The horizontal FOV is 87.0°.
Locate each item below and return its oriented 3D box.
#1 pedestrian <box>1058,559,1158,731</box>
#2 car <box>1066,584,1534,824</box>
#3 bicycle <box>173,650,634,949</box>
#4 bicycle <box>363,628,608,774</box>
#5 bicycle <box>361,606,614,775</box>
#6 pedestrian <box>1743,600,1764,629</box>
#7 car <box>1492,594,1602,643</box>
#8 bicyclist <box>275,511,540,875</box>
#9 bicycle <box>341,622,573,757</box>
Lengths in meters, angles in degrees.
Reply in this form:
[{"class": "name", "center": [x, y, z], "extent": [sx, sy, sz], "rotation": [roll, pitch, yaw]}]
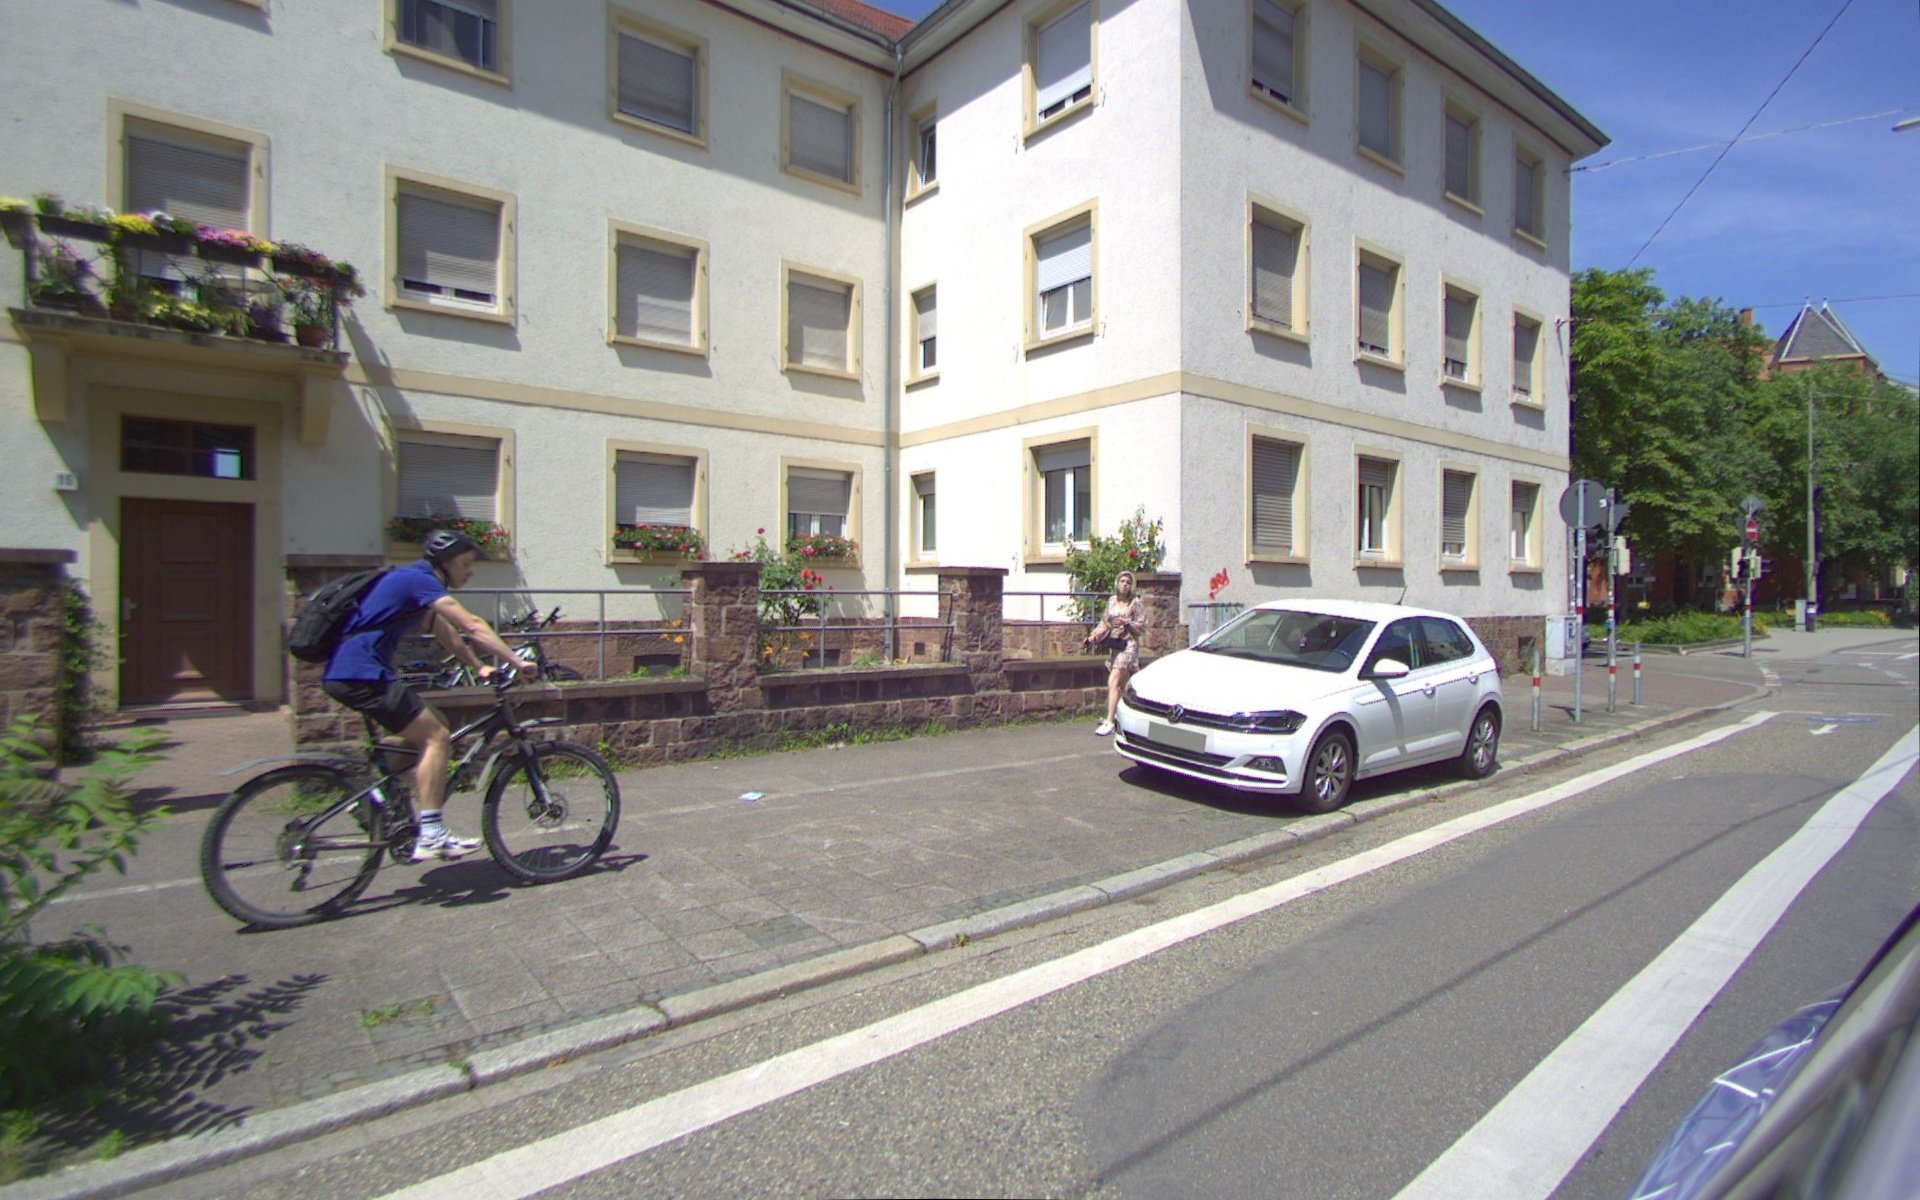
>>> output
[{"class": "pedestrian", "center": [1.517, 0.438, 10.411], "extent": [0.743, 1.691, 0.698], "rotation": [0, -1, -40]}, {"class": "car", "center": [2.977, 0.642, 8.457], "extent": [4.083, 1.427, 1.782], "rotation": [0, 4, -40]}, {"class": "bicycle", "center": [-2.497, 0.807, 4.686], "extent": [1.788, 1.064, 0.604], "rotation": [0, 0, -37]}, {"class": "bicycle", "center": [-4.005, 0.805, 8.668], "extent": [1.834, 1.077, 0.527], "rotation": [0, 0, -44]}, {"class": "bicycle", "center": [-3.672, 0.645, 7.932], "extent": [1.720, 1.190, 0.598], "rotation": [0, 0, -35]}, {"class": "pedestrian", "center": [32.595, 0.602, 41.584], "extent": [0.648, 1.165, 0.635], "rotation": [-1, -1, 36]}, {"class": "car", "center": [19.290, 0.572, 33.422], "extent": [1.665, 1.464, 3.622], "rotation": [2, 0, 4]}, {"class": "bicyclist", "center": [-2.554, 0.373, 4.678], "extent": [0.991, 1.470, 0.713], "rotation": [0, 0, -36]}, {"class": "bicycle", "center": [-4.563, 0.763, 9.271], "extent": [1.812, 1.077, 0.597], "rotation": [0, 0, -44]}]
